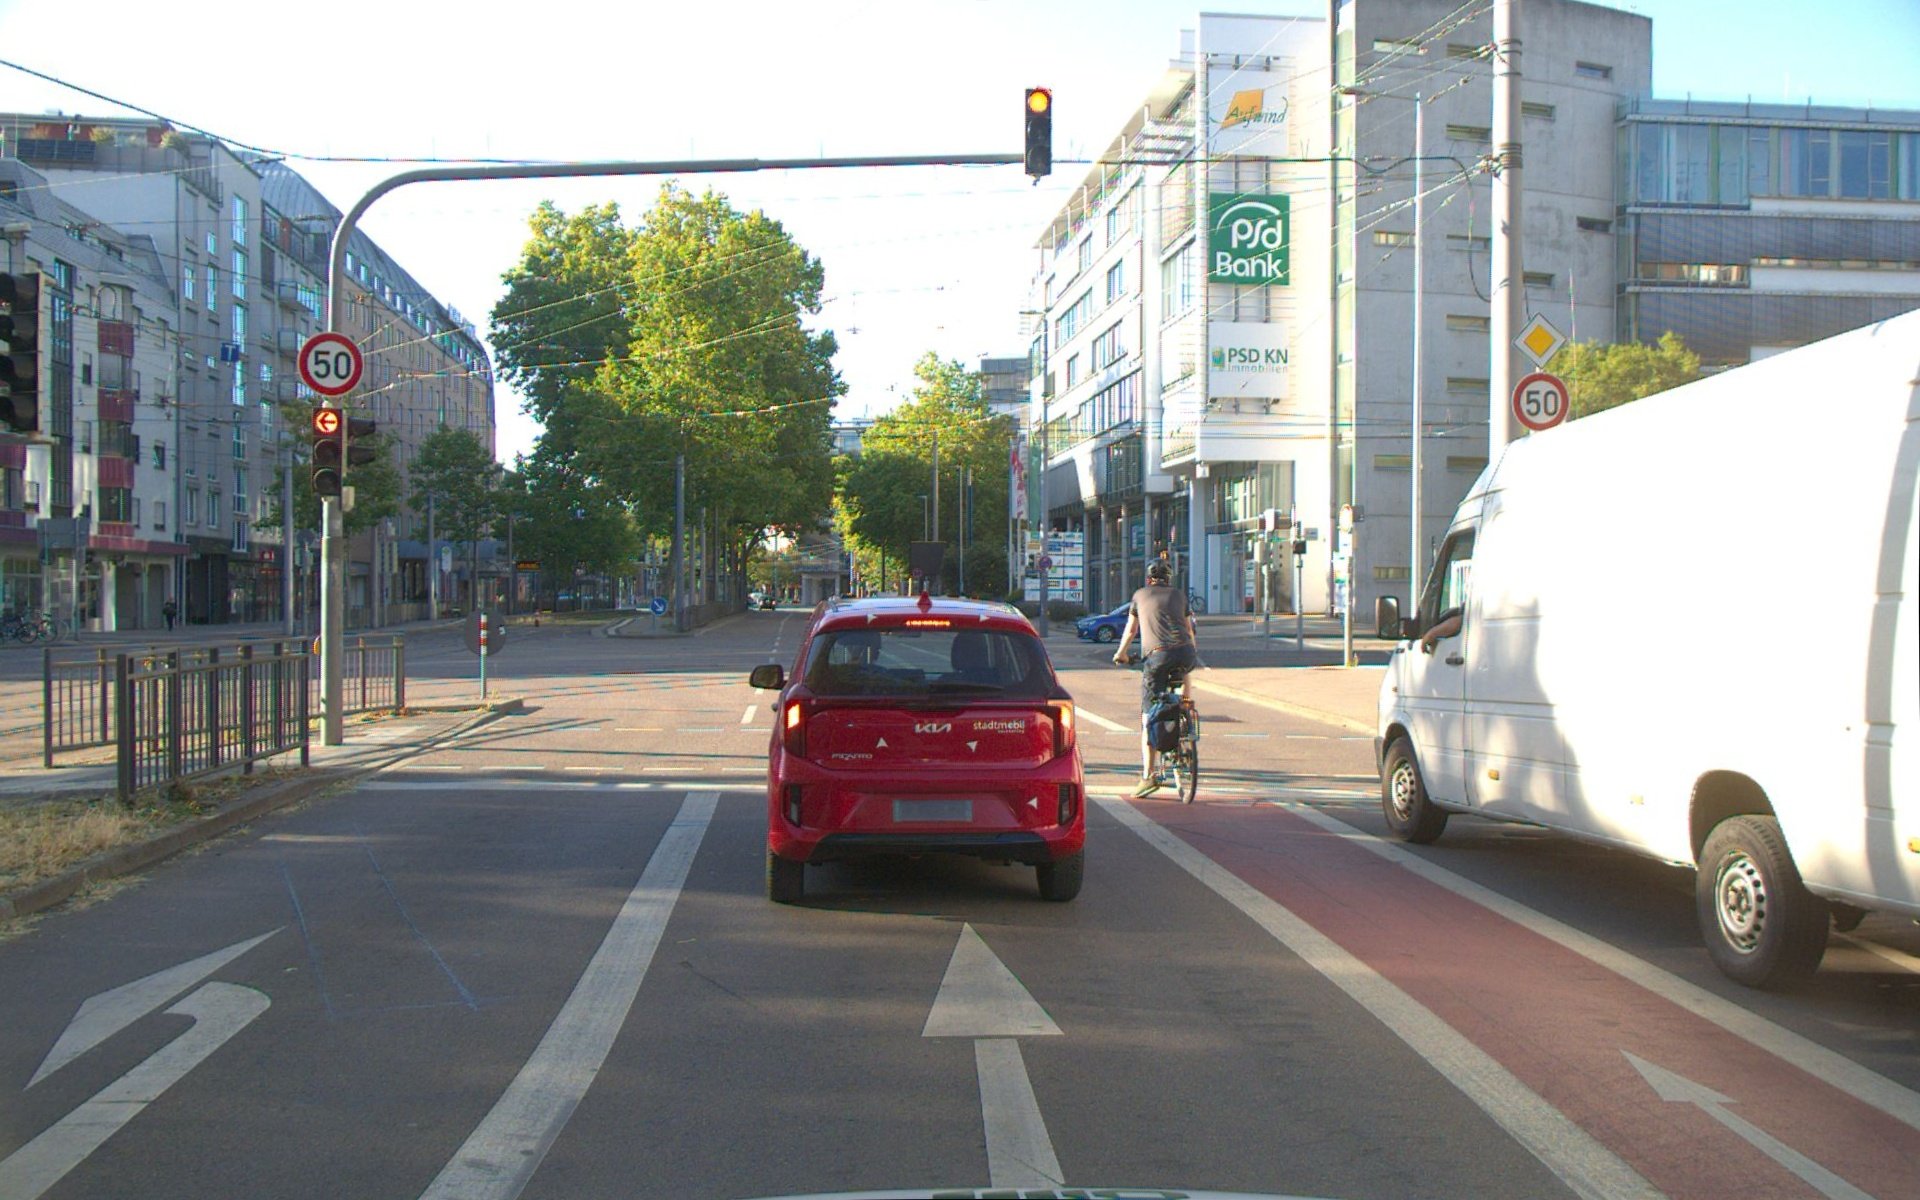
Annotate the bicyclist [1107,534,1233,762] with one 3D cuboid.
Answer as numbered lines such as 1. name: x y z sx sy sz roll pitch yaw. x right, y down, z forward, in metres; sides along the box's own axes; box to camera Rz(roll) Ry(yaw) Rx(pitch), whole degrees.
1. bicyclist: 1.610 0.361 12.756 0.730 1.698 0.743 1 0 -12

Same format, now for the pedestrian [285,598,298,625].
1. pedestrian: -36.453 0.612 90.212 0.501 1.484 0.527 -1 0 -8

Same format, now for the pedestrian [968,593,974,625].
1. pedestrian: 0.546 0.439 82.842 0.288 1.589 0.356 -1 0 -1

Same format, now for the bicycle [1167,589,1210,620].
1. bicycle: 10.774 0.215 78.050 1.898 1.468 0.574 -1 0 -8

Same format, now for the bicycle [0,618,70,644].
1. bicycle: -30.282 1.011 53.978 2.129 0.838 0.527 -1 0 -10

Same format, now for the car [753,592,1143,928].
1. car: -0.236 0.718 9.482 1.804 1.515 3.712 0 0 -6

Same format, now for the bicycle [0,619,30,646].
1. bicycle: -30.435 1.026 51.829 2.129 0.801 0.639 -1 0 -10

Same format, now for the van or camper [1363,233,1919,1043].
1. van or camper: 4.185 0.139 8.212 2.225 2.781 6.340 2 0 -5

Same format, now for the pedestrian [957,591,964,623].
1. pedestrian: 0.016 0.335 82.552 0.288 1.589 0.302 -1 0 9

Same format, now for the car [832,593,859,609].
1. car: -11.726 0.073 168.540 2.432 1.555 4.424 -1 0 -8

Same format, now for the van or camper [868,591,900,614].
1. van or camper: -6.187 0.168 134.714 2.106 1.781 4.422 -1 0 -9

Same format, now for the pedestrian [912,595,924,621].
1. pedestrian: -2.911 0.561 114.010 0.730 1.746 0.746 0 0 -13

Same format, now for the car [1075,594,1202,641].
1. car: 6.281 0.608 58.394 4.176 1.595 1.847 -1 0 -5

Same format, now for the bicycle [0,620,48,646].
1. bicycle: -30.279 1.049 52.671 2.129 0.801 0.491 -1 0 -10

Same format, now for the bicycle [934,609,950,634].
1. bicycle: -0.887 1.068 82.895 0.776 1.182 2.499 0 0 -1

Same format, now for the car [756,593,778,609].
1. car: -20.755 0.140 177.550 2.021 1.682 3.483 -1 0 -11

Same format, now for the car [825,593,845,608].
1. car: -13.768 0.055 182.569 1.850 1.555 4.422 -1 0 -9

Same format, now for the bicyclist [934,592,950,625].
1. bicyclist: -0.896 0.413 83.047 0.769 1.663 0.639 0 0 -1

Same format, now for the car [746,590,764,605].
1. car: -28.975 -0.332 233.737 1.953 2.049 4.000 -1 0 0

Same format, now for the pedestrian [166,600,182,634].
1. pedestrian: -34.406 0.747 72.370 0.501 1.484 0.526 -1 0 -13

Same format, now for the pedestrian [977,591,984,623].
1. pedestrian: 1.037 0.346 82.611 0.288 1.589 0.314 -1 0 -4

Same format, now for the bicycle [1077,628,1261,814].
1. bicycle: 1.575 0.887 12.888 0.730 1.245 2.149 1 1 -12

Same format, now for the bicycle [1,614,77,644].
1. bicycle: -30.395 0.955 54.611 2.129 0.967 0.491 -1 0 -10
